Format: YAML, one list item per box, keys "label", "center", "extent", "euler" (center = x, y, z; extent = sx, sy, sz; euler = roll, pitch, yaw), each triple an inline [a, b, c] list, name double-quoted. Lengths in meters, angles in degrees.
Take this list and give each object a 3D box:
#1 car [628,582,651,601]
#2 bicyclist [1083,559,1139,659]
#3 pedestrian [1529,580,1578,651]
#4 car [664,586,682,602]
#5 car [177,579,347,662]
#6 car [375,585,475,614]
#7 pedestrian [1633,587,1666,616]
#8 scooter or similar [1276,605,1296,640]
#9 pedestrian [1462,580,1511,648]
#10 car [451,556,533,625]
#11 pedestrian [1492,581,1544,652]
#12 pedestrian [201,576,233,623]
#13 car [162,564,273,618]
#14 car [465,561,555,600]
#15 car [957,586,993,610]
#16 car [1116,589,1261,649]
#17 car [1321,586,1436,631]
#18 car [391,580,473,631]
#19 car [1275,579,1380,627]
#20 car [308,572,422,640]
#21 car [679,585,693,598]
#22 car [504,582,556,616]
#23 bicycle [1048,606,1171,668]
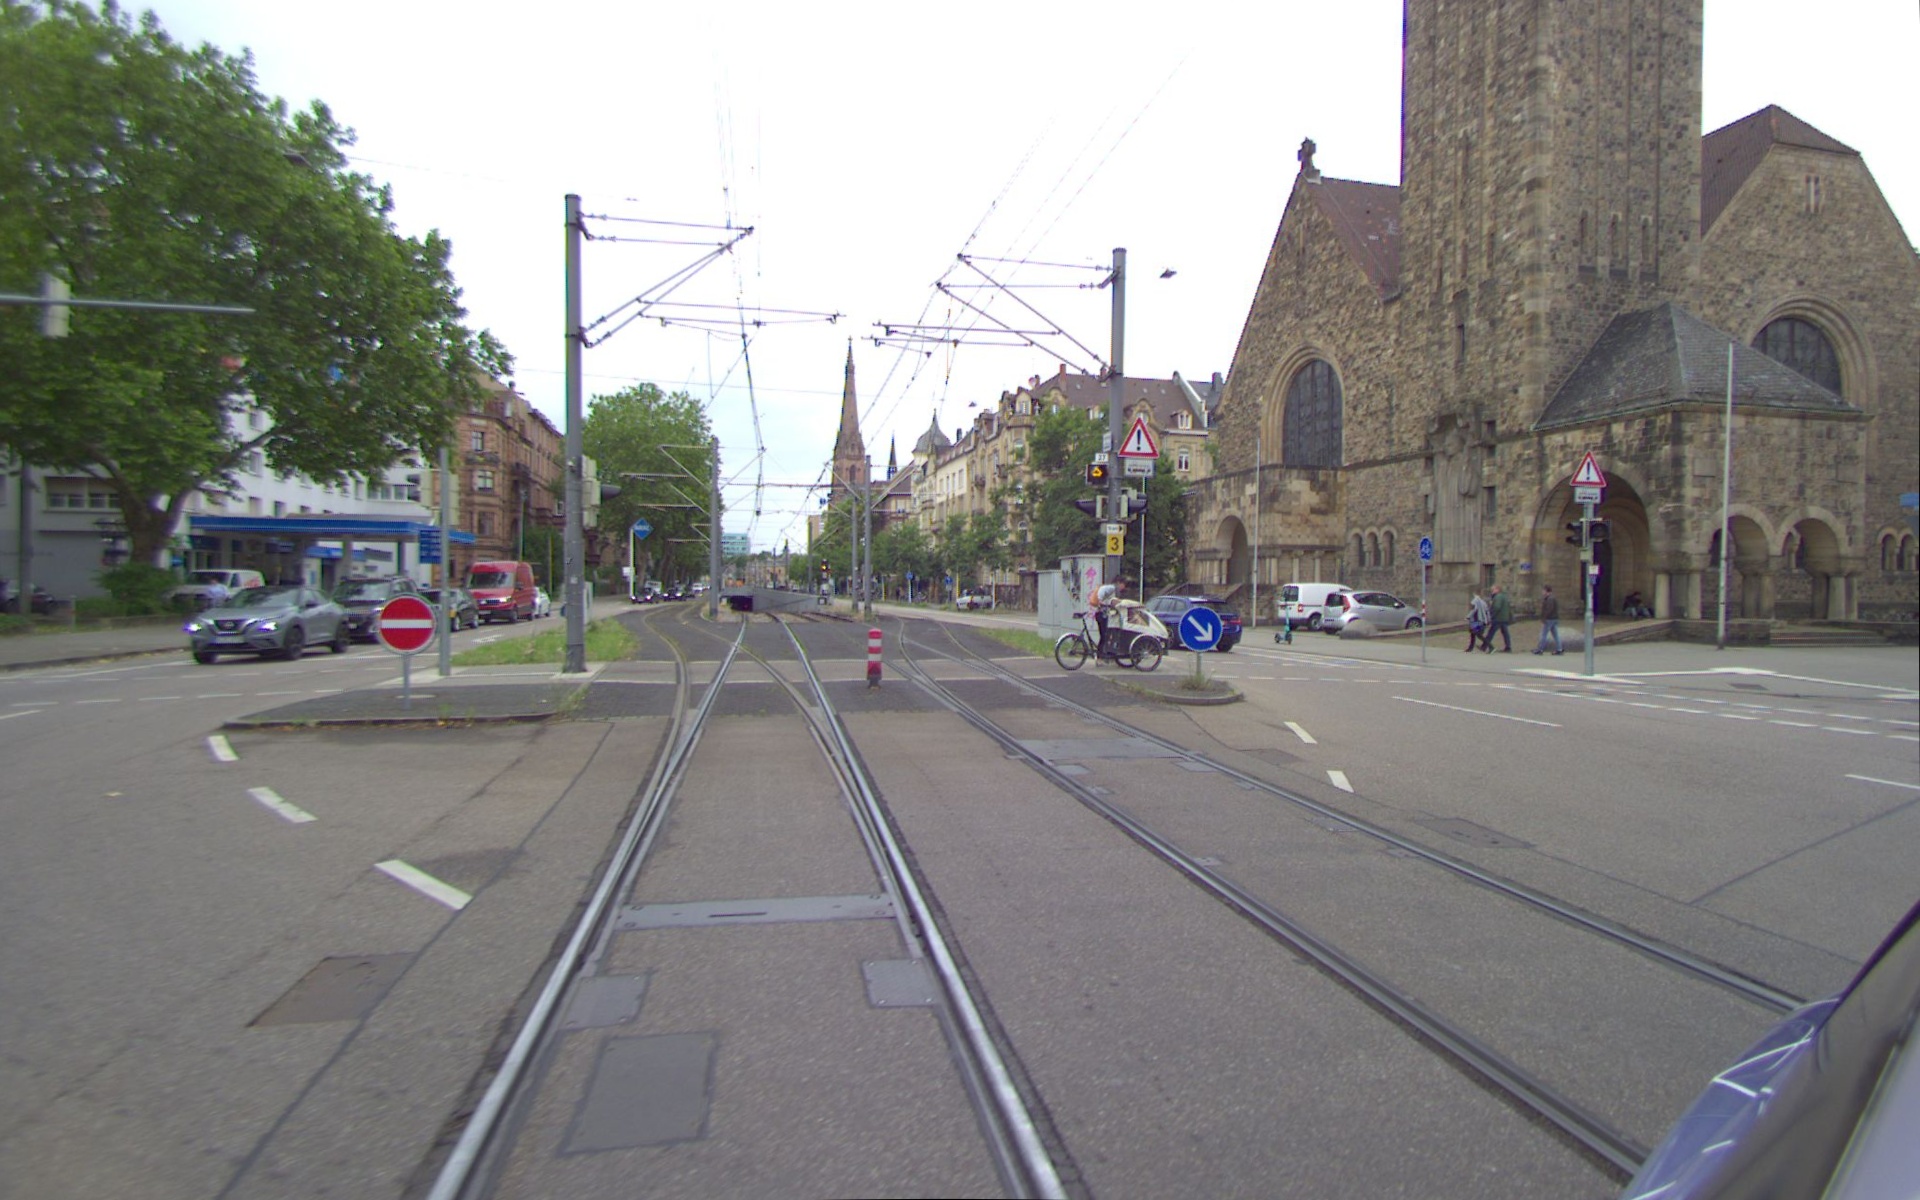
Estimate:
- label: "car"
  center: [-27.778, -0.770, 87.711]
  extent: [1.652, 1.549, 3.475]
  euler: [0, 1, -14]
- label: "bicyclist"
  center: [2.575, 0.141, 17.316]
  extent: [0.738, 1.675, 0.617]
  euler: [0, 1, -15]
- label: "pedestrian"
  center: [14.960, 0.376, 25.500]
  extent: [0.951, 1.706, 0.676]
  euler: [0, 3, -37]
- label: "car"
  center: [-29.009, -0.654, 102.269]
  extent: [1.652, 1.549, 3.475]
  euler: [0, 1, -14]
- label: "car"
  center: [-14.626, 0.350, 21.473]
  extent: [1.652, 1.581, 3.998]
  euler: [0, 1, -14]
- label: "car"
  center: [-26.178, -0.044, 49.661]
  extent: [4.012, 1.390, 1.738]
  euler: [0, 1, -13]
- label: "pedestrian"
  center: [23.300, 0.036, 34.224]
  extent: [0.602, 0.963, 0.675]
  euler: [0, 1, -15]
- label: "scooter or similar"
  center: [10.117, 0.696, 31.418]
  extent: [0.235, 1.066, 0.774]
  euler: [0, 1, -11]
- label: "pedestrian"
  center: [13.667, 0.349, 26.272]
  extent: [0.950, 1.693, 0.636]
  euler: [1, 2, -30]
- label: "car"
  center: [-18.811, -0.426, 40.923]
  extent: [1.951, 2.570, 5.623]
  euler: [0, 1, -14]
- label: "pedestrian"
  center: [14.602, 0.425, 26.483]
  extent: [0.951, 1.780, 0.807]
  euler: [0, 3, -37]
- label: "pedestrian"
  center: [-25.154, -0.028, 34.276]
  extent: [0.695, 1.590, 0.573]
  euler: [0, 0, -13]
- label: "car"
  center: [-31.010, -0.416, 42.481]
  extent: [1.951, 2.122, 5.099]
  euler: [0, 1, -14]
- label: "car"
  center: [-33.391, -1.474, 75.449]
  extent: [2.214, 2.762, 7.075]
  euler: [0, 1, 15]
- label: "car"
  center: [0.978, -0.180, 68.462]
  extent: [1.652, 1.549, 3.475]
  euler: [0, 1, -14]
- label: "car"
  center: [6.040, 0.446, 27.310]
  extent: [1.783, 1.423, 4.329]
  euler: [0, 1, -19]
- label: "car"
  center: [14.732, 0.278, 35.705]
  extent: [3.395, 1.549, 1.621]
  euler: [0, 1, -11]
- label: "car"
  center: [-17.736, 0.140, 34.143]
  extent: [1.652, 1.581, 3.475]
  euler: [0, 1, -14]
- label: "car"
  center: [14.165, 0.091, 39.067]
  extent: [3.395, 1.815, 1.690]
  euler: [0, 1, -11]
- label: "car"
  center: [-16.346, 0.113, 28.024]
  extent: [1.652, 1.732, 3.958]
  euler: [0, 1, -14]
- label: "car"
  center: [-33.777, -1.037, 124.814]
  extent: [1.652, 1.549, 3.475]
  euler: [0, 1, -14]
- label: "car"
  center: [-20.565, -0.091, 48.582]
  extent: [1.652, 1.549, 4.159]
  euler: [0, 1, -14]
- label: "bicycle"
  center: [2.564, 0.618, 17.323]
  extent: [2.017, 1.008, 0.554]
  euler: [0, 1, -14]
